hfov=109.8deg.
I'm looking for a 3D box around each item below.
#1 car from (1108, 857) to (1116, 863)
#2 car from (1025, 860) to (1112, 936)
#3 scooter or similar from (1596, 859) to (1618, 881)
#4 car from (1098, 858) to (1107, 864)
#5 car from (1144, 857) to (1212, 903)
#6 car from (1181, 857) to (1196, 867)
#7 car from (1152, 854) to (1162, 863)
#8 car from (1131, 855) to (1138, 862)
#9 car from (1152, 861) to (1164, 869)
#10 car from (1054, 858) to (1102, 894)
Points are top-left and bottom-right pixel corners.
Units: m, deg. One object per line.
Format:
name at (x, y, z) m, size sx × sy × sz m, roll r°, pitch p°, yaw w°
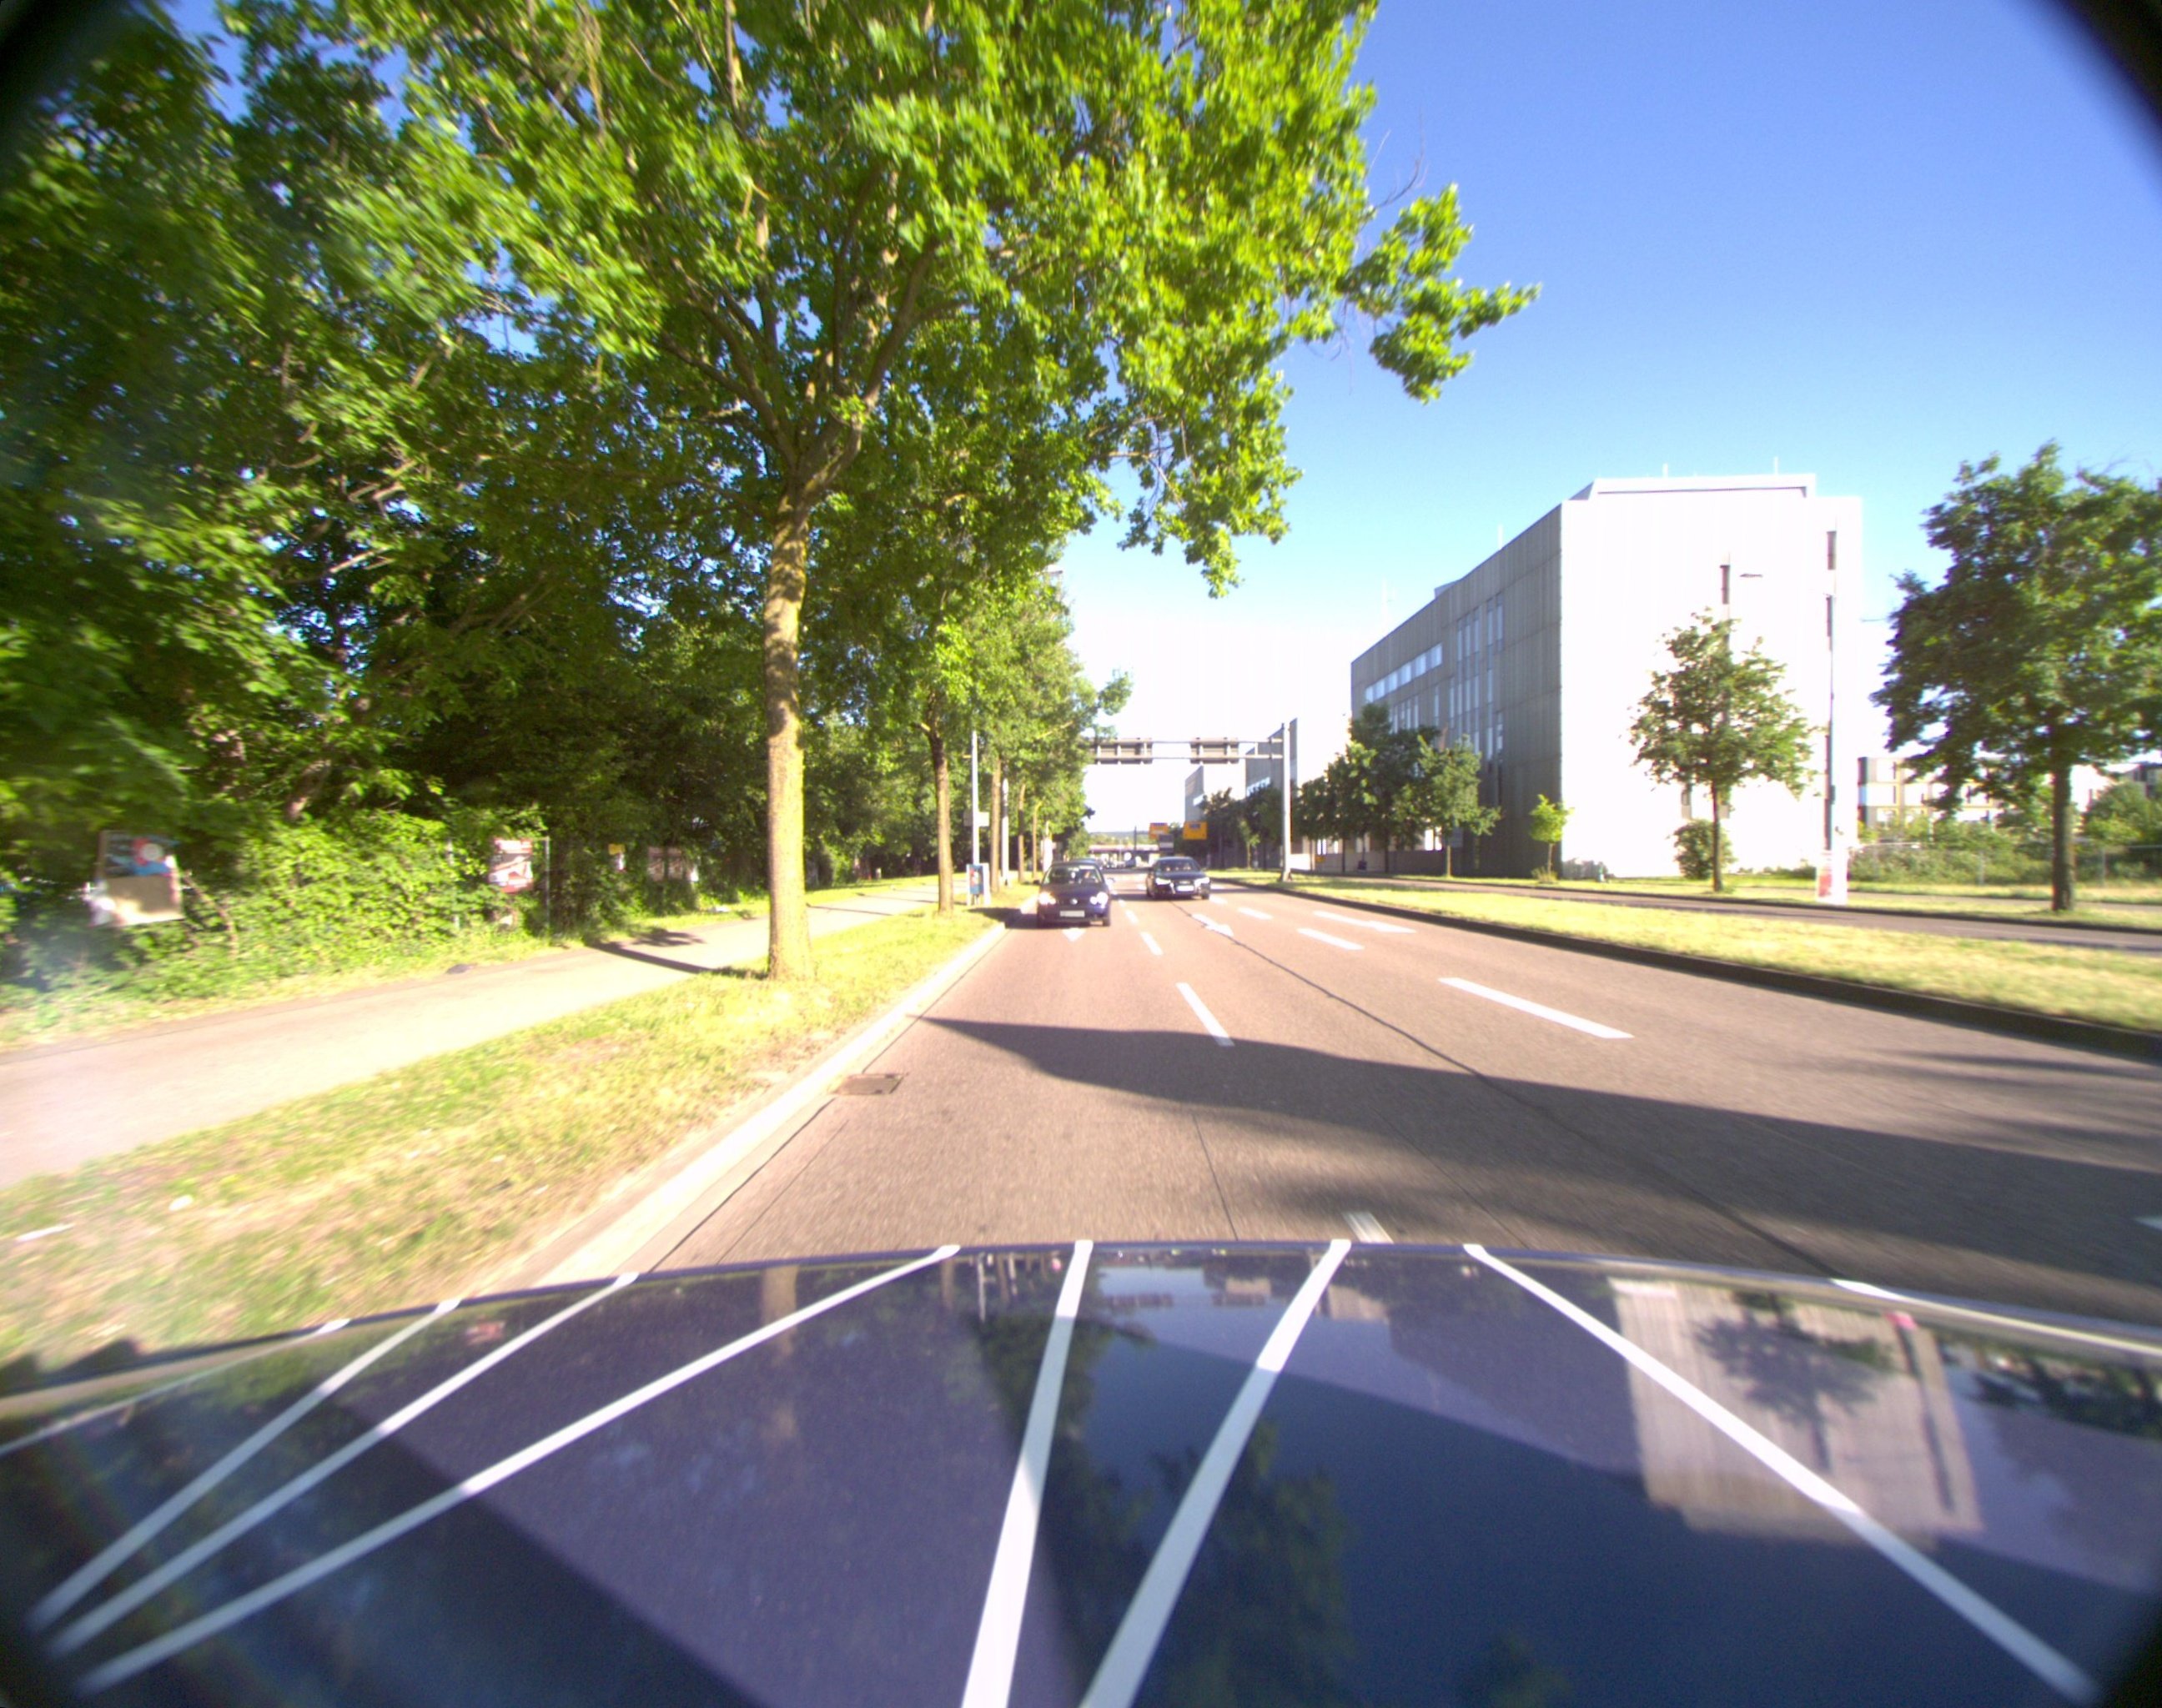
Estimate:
car at (8.190, 1.628, 199.290) m, size 1.998 × 1.678 × 4.002 m, roll 0°, pitch 0°, yaw 5°
car at (-0.170, 0.937, 18.067) m, size 1.636 × 1.459 × 4.547 m, roll -2°, pitch 0°, yaw 4°
scooter or similar at (26.998, 0.827, 39.014) m, size 0.453 × 1.104 × 1.408 m, roll 0°, pitch 0°, yaw 14°
car at (5.540, 1.828, 195.575) m, size 1.998 × 1.678 × 4.002 m, roll 0°, pitch 0°, yaw 5°
car at (3.289, 0.833, 26.753) m, size 1.797 × 1.435 × 5.017 m, roll -1°, pitch 0°, yaw 1°
car at (18.176, 1.333, 128.875) m, size 1.998 × 1.569 × 4.000 m, roll 0°, pitch 0°, yaw 1°
car at (17.925, 1.090, 179.718) m, size 1.998 × 2.172 × 4.000 m, roll 0°, pitch 0°, yaw 1°
car at (16.801, 1.408, 238.933) m, size 1.998 × 2.467 × 4.571 m, roll 0°, pitch 0°, yaw 1°
car at (14.715, 2.084, 146.005) m, size 1.998 × 1.569 × 4.000 m, roll 0°, pitch 0°, yaw 1°
car at (-0.094, 0.983, 36.070) m, size 1.756 × 1.446 × 4.001 m, roll -3°, pitch 1°, yaw 6°
